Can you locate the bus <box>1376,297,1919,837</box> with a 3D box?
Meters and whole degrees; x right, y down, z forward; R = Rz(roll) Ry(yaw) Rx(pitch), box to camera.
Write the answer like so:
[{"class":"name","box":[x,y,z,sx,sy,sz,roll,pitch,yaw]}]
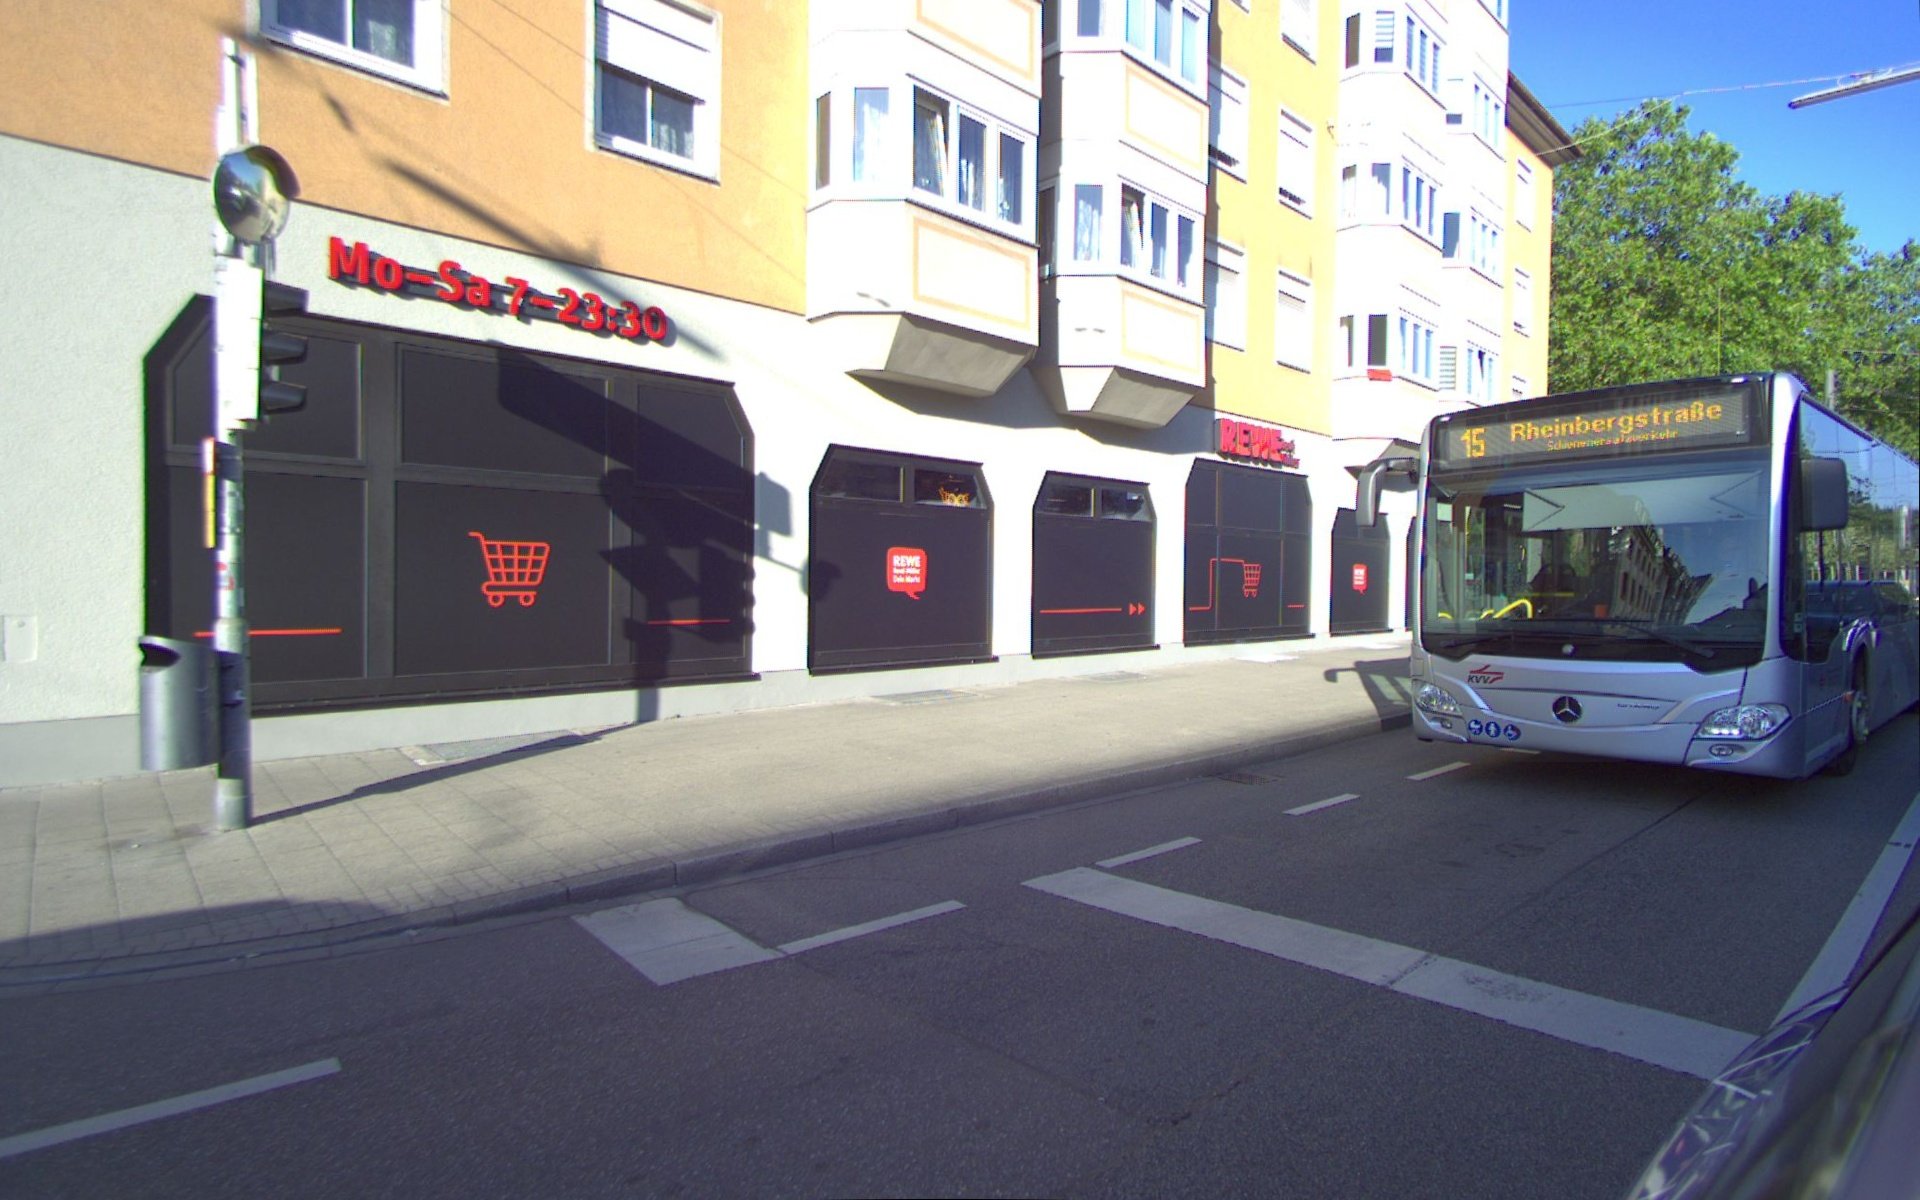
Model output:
[{"class":"bus","box":[10.731,-0.388,12.825,17.437,3.189,2.770,-1,2,-42]}]
